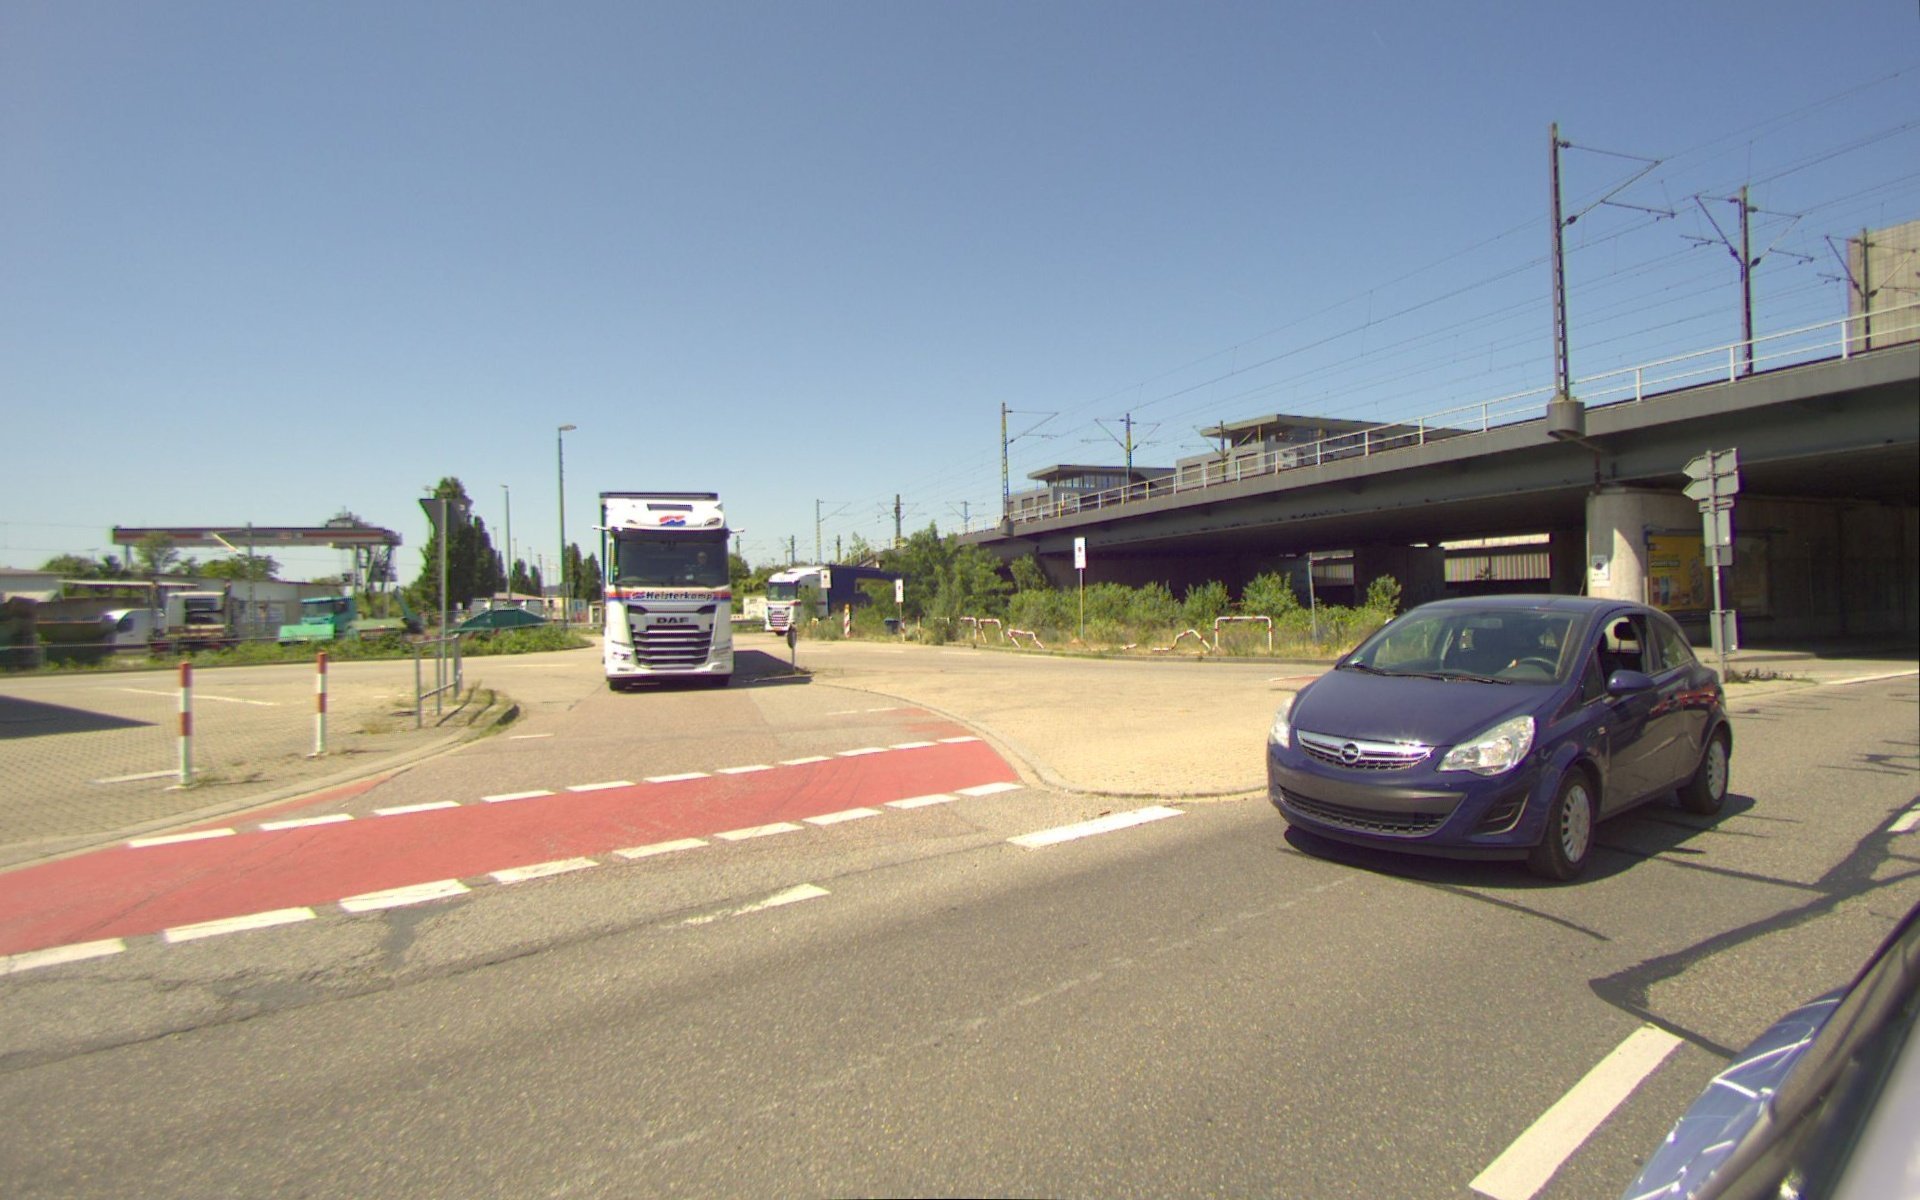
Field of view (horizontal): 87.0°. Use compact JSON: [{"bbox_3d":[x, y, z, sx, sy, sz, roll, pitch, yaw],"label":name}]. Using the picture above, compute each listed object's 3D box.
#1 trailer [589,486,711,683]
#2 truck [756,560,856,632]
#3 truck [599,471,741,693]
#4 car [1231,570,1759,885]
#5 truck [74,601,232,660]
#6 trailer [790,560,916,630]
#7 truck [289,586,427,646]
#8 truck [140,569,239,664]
[{"bbox_3d":[-8.461,-0.256,28.290,2.448,4.142,13.931,-1,-1,-16],"label":"trailer"},{"bbox_3d":[-9.171,-0.276,60.862,2.573,4.089,6.138,-1,0,31],"label":"truck"},{"bbox_3d":[-6.488,-0.375,22.085,2.522,4.153,5.774,-1,0,-20],"label":"truck"},{"bbox_3d":[3.610,0.596,6.560,3.820,1.462,1.650,0,-1,-39],"label":"car"},{"bbox_3d":[-42.333,1.541,53.328,2.616,2.825,6.074,-1,0,18],"label":"truck"},{"bbox_3d":[-6.658,-0.378,65.051,2.559,4.176,9.939,-1,0,31],"label":"trailer"},{"bbox_3d":[-36.545,0.872,61.796,2.762,3.411,7.524,-1,0,14],"label":"truck"},{"bbox_3d":[-30.596,0.615,40.433,2.669,3.424,7.403,-1,0,-34],"label":"truck"}]
